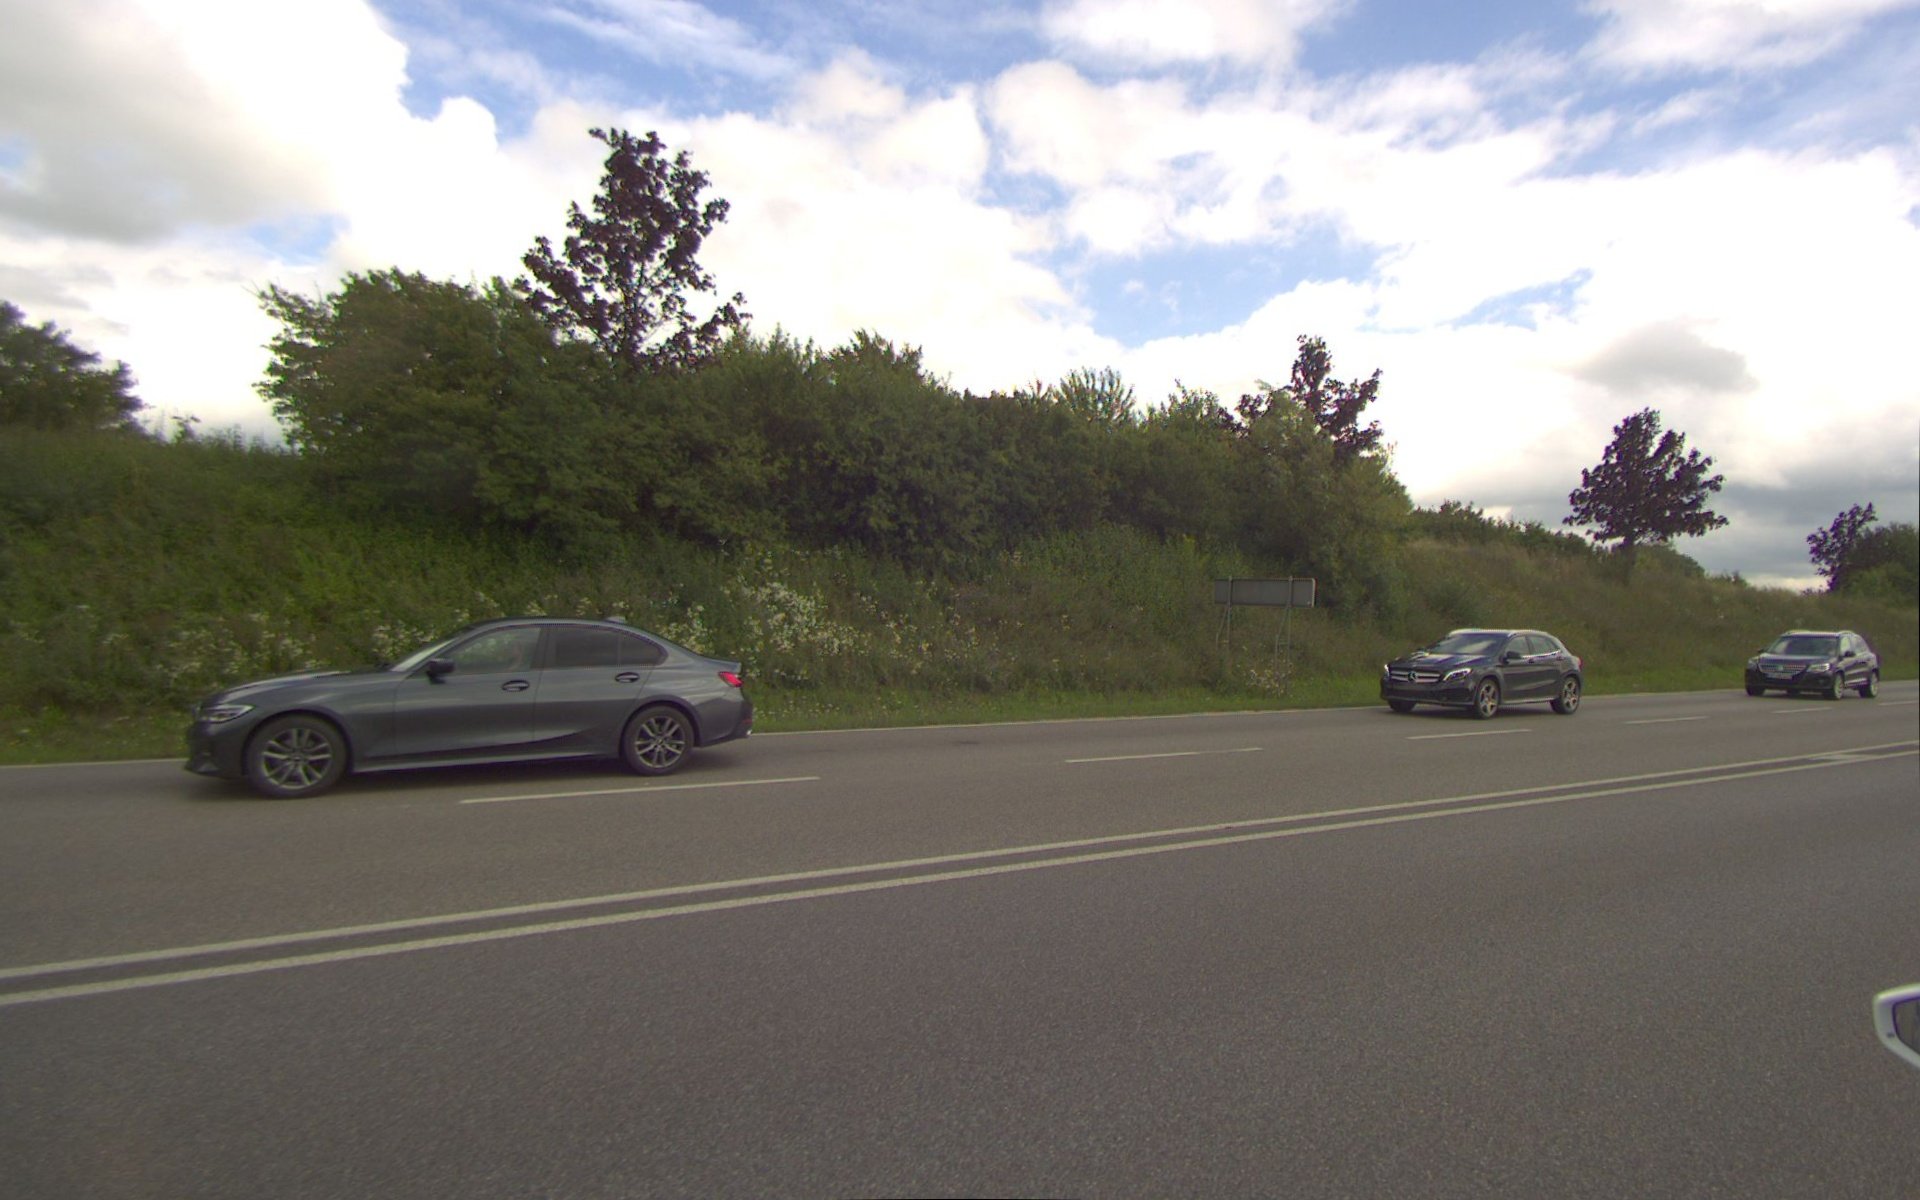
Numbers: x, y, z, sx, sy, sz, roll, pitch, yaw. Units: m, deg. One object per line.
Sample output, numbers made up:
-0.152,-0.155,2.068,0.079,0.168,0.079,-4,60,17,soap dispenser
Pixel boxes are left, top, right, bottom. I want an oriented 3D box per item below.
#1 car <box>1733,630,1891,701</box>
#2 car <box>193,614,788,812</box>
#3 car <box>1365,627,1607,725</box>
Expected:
21.750,1.608,25.604,4.464,1.656,1.785,1,-1,-31,car
-4.140,0.902,9.433,4.652,1.424,1.785,1,0,-31,car
9.688,1.312,18.403,4.652,1.532,1.785,1,0,-31,car
